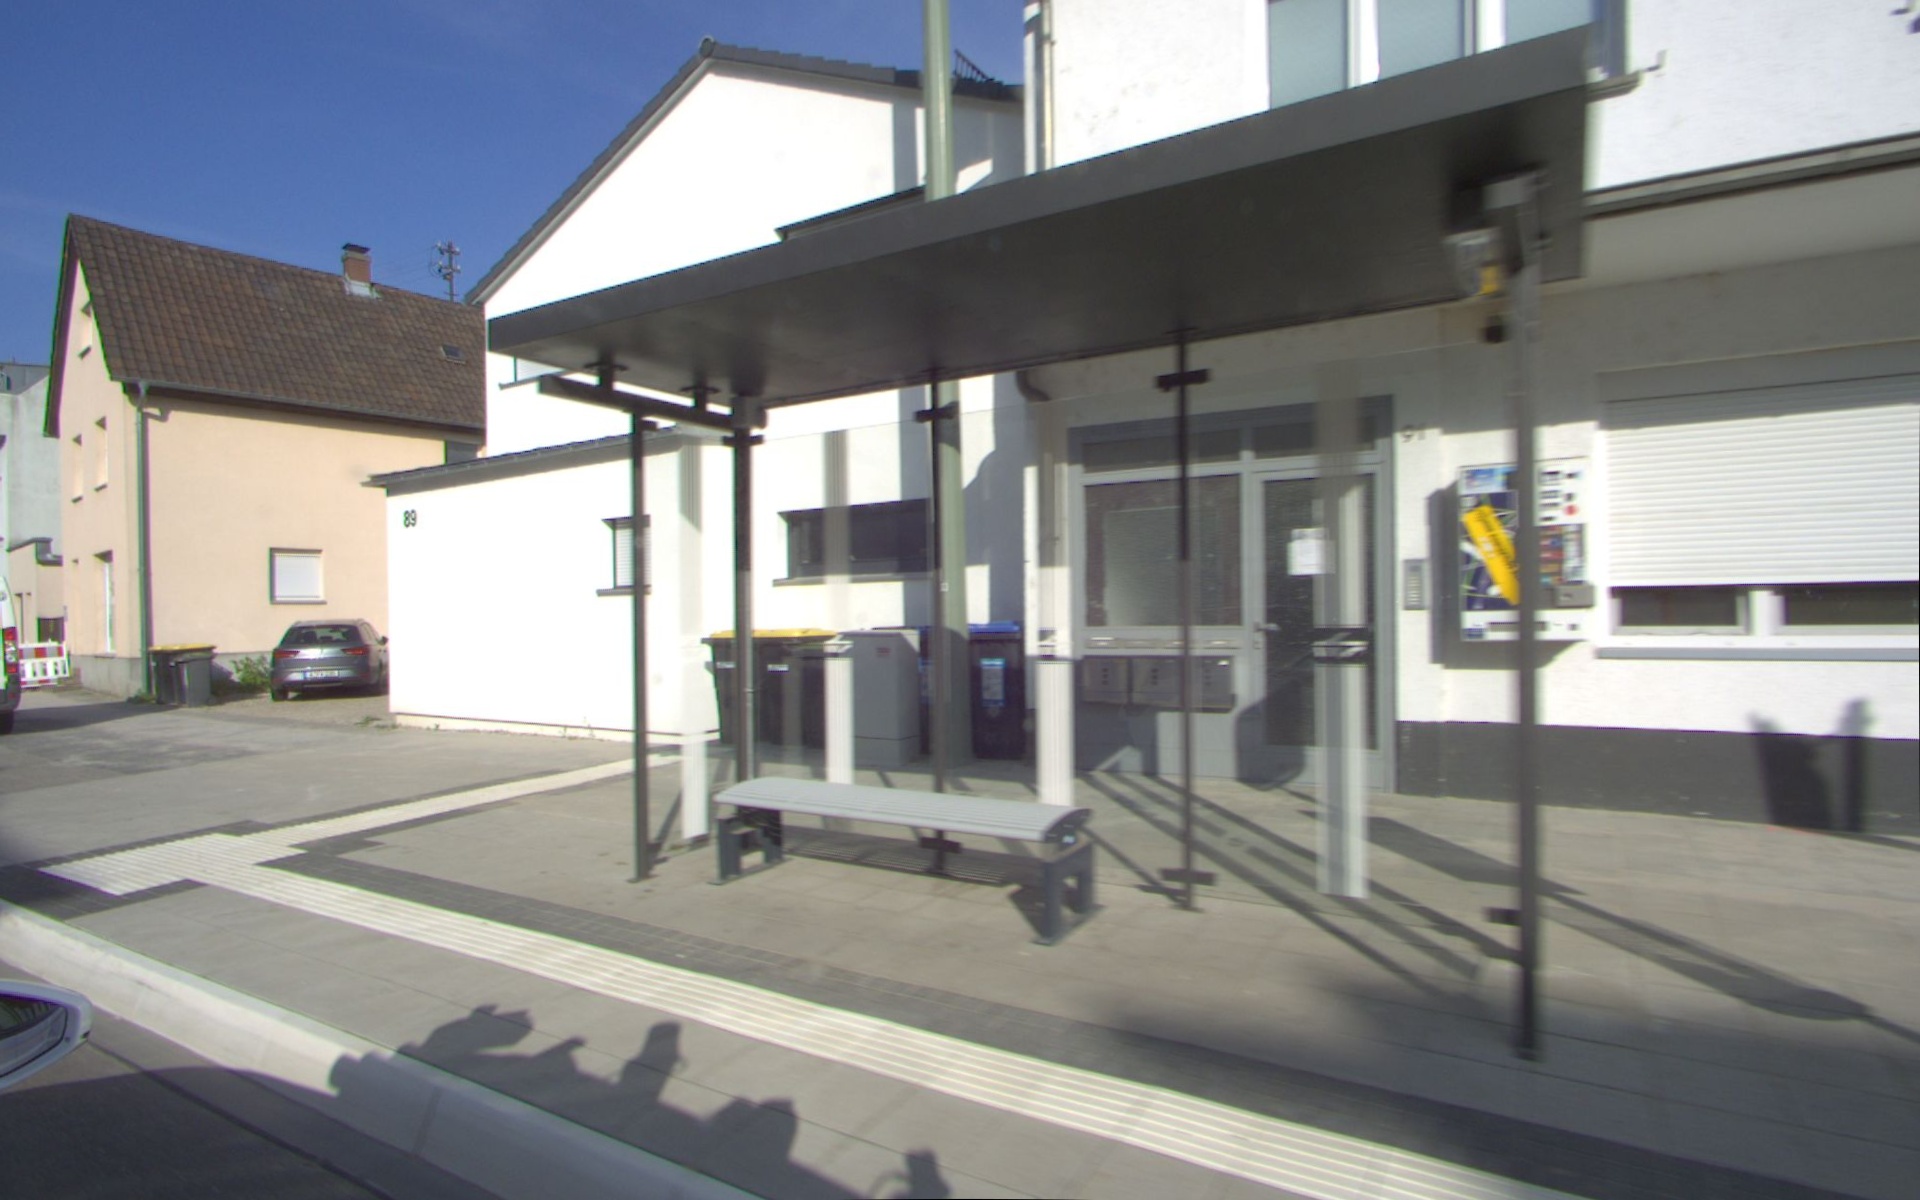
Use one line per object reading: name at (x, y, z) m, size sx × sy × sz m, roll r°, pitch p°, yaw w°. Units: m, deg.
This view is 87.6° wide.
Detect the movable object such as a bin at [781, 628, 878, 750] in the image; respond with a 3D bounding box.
movable object such as a bin at (-1.198, 0.799, 9.272) m, size 0.464 × 1.050 × 0.810 m, roll -1°, pitch 0°, yaw 33°

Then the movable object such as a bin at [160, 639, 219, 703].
movable object such as a bin at (-13.976, 1.275, 18.164) m, size 0.547 × 1.107 × 0.725 m, roll -1°, pitch -1°, yaw 37°

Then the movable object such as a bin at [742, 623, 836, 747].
movable object such as a bin at (-1.623, 0.788, 9.551) m, size 0.437 × 1.107 × 0.810 m, roll -1°, pitch 0°, yaw 33°

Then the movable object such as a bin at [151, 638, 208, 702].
movable object such as a bin at (-14.433, 1.278, 18.523) m, size 0.547 × 1.146 × 0.725 m, roll -1°, pitch -1°, yaw 37°

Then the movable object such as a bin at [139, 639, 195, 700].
movable object such as a bin at (-14.958, 1.299, 18.895) m, size 0.547 × 1.107 × 0.725 m, roll -1°, pitch -1°, yaw 37°

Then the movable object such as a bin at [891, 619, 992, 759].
movable object such as a bin at (-0.147, 0.728, 8.471) m, size 0.551 × 1.107 × 0.695 m, roll -1°, pitch 0°, yaw 31°

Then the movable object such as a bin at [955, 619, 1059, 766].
movable object such as a bin at (0.384, 0.715, 8.044) m, size 0.551 × 1.107 × 0.694 m, roll -1°, pitch 0°, yaw 33°

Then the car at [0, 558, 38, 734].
car at (-15.275, 0.681, 14.362) m, size 4.934 × 2.358 × 2.166 m, roll -1°, pitch 1°, yaw 38°

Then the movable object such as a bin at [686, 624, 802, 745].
movable object such as a bin at (-2.130, 0.806, 9.897) m, size 0.757 × 1.107 × 0.810 m, roll -1°, pitch 0°, yaw 33°

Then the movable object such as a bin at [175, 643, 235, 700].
movable object such as a bin at (-13.367, 1.247, 17.733) m, size 0.547 × 0.971 × 0.725 m, roll -1°, pitch -1°, yaw 37°

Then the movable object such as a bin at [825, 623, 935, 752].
movable object such as a bin at (-0.704, 0.754, 8.954) m, size 0.593 × 1.073 × 0.810 m, roll -1°, pitch 0°, yaw 33°

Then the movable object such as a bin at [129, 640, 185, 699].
movable object such as a bin at (-15.440, 1.321, 19.259) m, size 0.617 × 1.107 × 0.725 m, roll -1°, pitch -1°, yaw 37°

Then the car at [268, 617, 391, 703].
car at (-12.071, 1.069, 19.377) m, size 1.636 × 1.426 × 3.961 m, roll -2°, pitch 0°, yaw -27°
